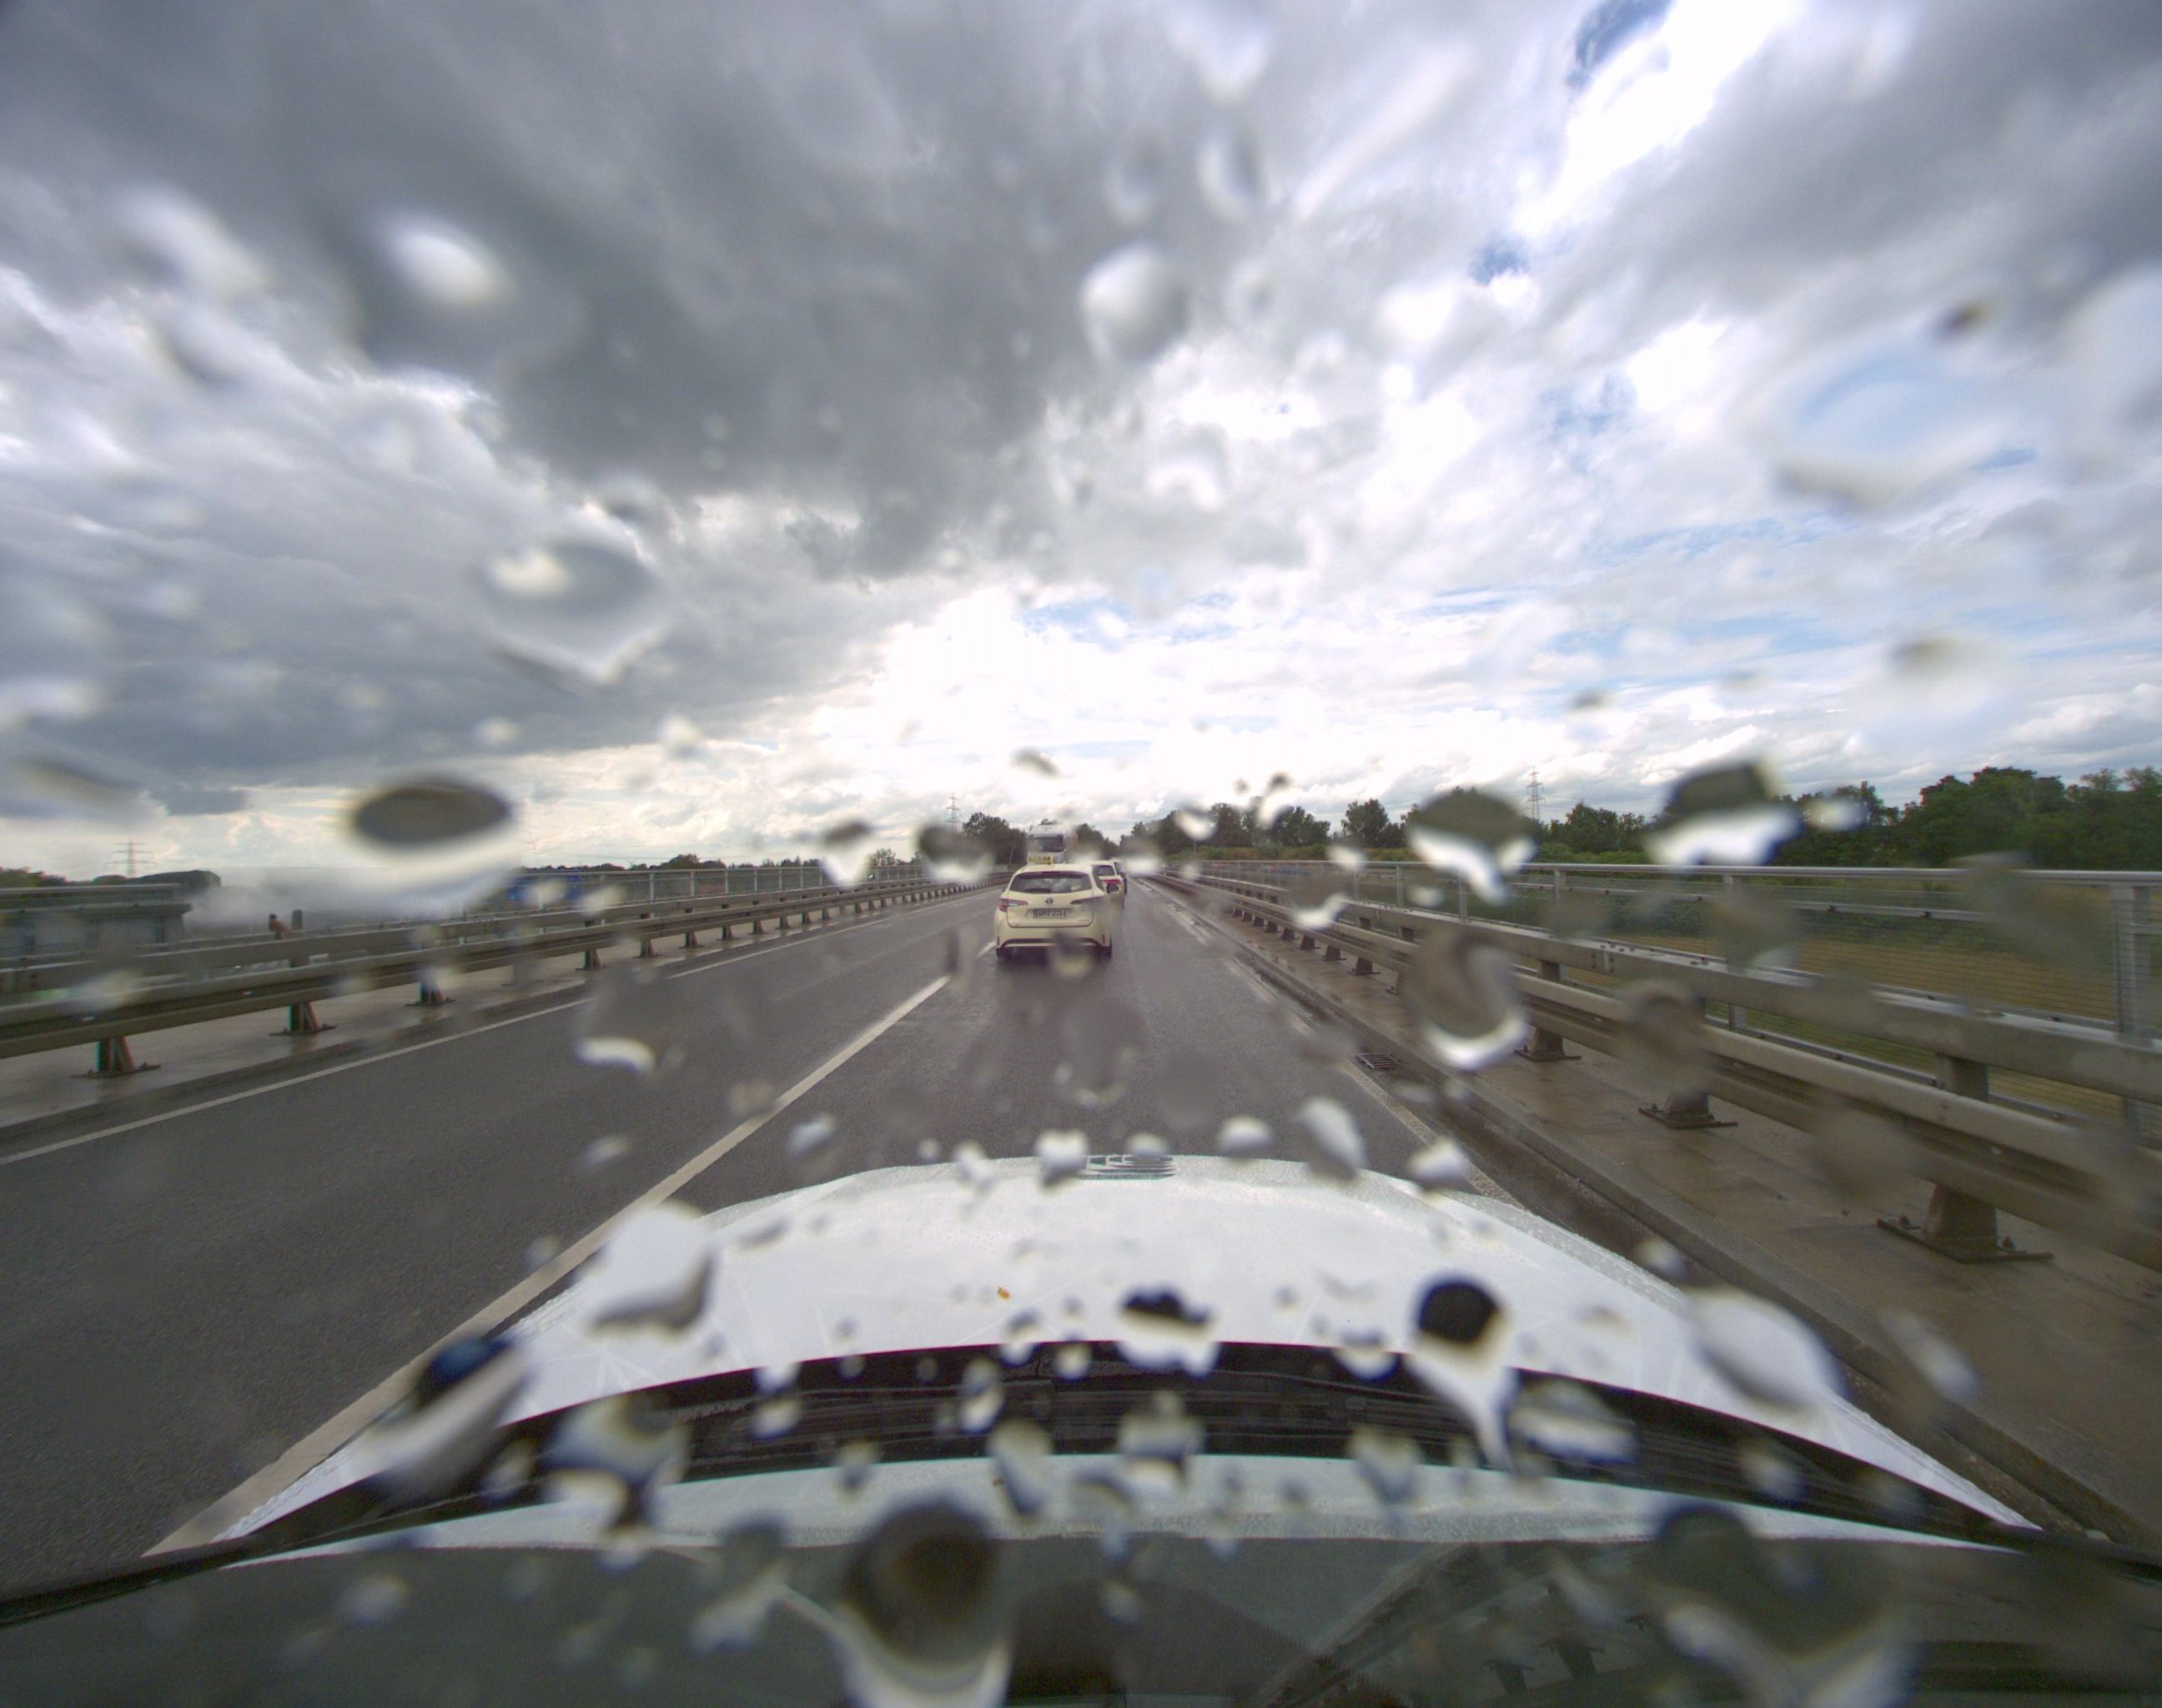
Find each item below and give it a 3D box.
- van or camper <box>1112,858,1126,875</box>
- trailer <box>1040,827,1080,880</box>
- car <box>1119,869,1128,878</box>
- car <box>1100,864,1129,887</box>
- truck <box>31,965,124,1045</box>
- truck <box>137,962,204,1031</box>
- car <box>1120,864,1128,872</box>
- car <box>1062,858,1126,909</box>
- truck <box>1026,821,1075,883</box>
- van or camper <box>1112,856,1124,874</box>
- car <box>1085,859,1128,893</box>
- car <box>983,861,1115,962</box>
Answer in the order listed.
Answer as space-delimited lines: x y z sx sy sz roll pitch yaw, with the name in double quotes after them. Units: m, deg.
6.493 2.186 140.690 2.323 2.864 6.309 0 -1 2 "van or camper"
-1.621 -0.047 67.506 2.672 4.075 8.490 -1 0 2 "trailer"
9.684 4.554 187.715 1.986 2.014 4.001 0 -1 1 "car"
2.183 1.382 53.658 1.847 1.443 4.173 0 0 2 "car"
-71.407 10.517 58.161 2.450 4.001 11.035 0 -1 -42 "truck"
-73.700 11.353 66.105 2.450 4.001 11.035 0 -1 -42 "truck"
11.557 3.727 217.122 1.986 2.014 4.001 0 -1 1 "car"
0.449 0.859 25.643 1.847 1.443 4.173 0 0 2 "car"
-2.010 -0.089 58.244 2.672 4.017 10.060 -1 0 2 "truck"
7.394 2.126 163.526 2.323 3.563 6.309 0 -1 2 "van or camper"
1.191 0.981 37.842 1.847 1.443 4.173 0 0 2 "car"
-0.376 0.823 13.510 1.847 1.394 4.173 0 0 2 "car"
